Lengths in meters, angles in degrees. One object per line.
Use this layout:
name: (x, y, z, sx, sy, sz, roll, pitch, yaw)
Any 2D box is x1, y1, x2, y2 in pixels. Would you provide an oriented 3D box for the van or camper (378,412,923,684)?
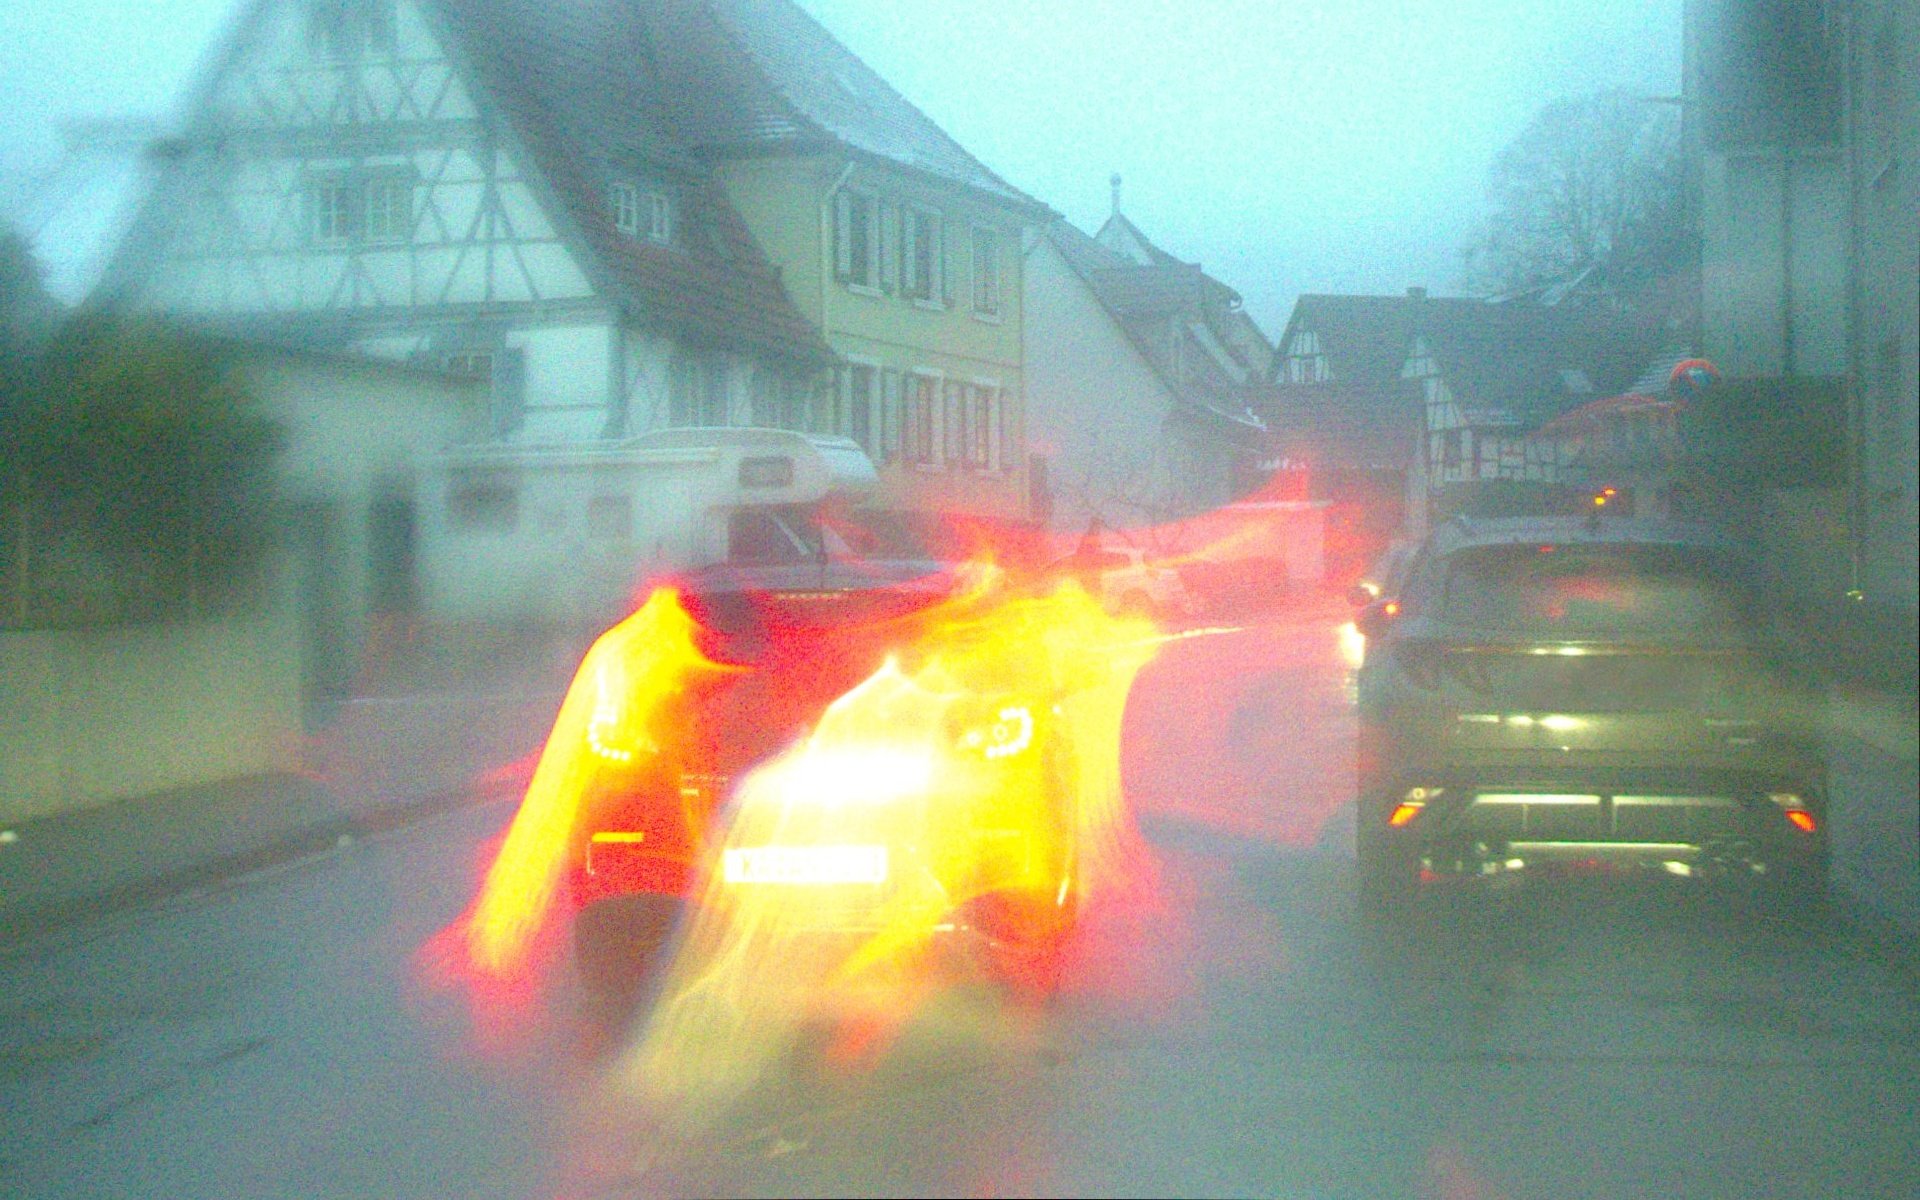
van or camper: (-3.753, -0.610, 42.090, 6.064, 2.945, 2.405, -3, 0, 14)

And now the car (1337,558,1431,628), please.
car: (8.796, -0.167, 71.138, 1.869, 1.397, 4.365, 0, 1, 8)

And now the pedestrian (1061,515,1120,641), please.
pedestrian: (2.116, -0.360, 55.542, 0.874, 2.007, 0.794, 0, 1, 8)

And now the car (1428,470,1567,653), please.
car: (7.407, -0.532, 47.233, 1.815, 2.405, 3.750, 0, 1, 10)

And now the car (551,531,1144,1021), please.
car: (-0.358, 0.509, 12.583, 1.795, 1.471, 4.000, 1, 1, 0)

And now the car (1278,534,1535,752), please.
car: (3.461, 0.270, 26.252, 1.799, 1.529, 3.999, 0, 1, 9)

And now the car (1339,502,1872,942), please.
car: (2.685, 0.434, 15.230, 1.848, 1.631, 4.335, 1, 1, 5)

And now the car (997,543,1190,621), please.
car: (2.658, -0.361, 68.200, 3.510, 1.502, 1.691, 1, 1, 15)

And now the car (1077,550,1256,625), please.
car: (4.247, -0.269, 70.512, 3.509, 1.502, 1.691, 0, 1, 10)
